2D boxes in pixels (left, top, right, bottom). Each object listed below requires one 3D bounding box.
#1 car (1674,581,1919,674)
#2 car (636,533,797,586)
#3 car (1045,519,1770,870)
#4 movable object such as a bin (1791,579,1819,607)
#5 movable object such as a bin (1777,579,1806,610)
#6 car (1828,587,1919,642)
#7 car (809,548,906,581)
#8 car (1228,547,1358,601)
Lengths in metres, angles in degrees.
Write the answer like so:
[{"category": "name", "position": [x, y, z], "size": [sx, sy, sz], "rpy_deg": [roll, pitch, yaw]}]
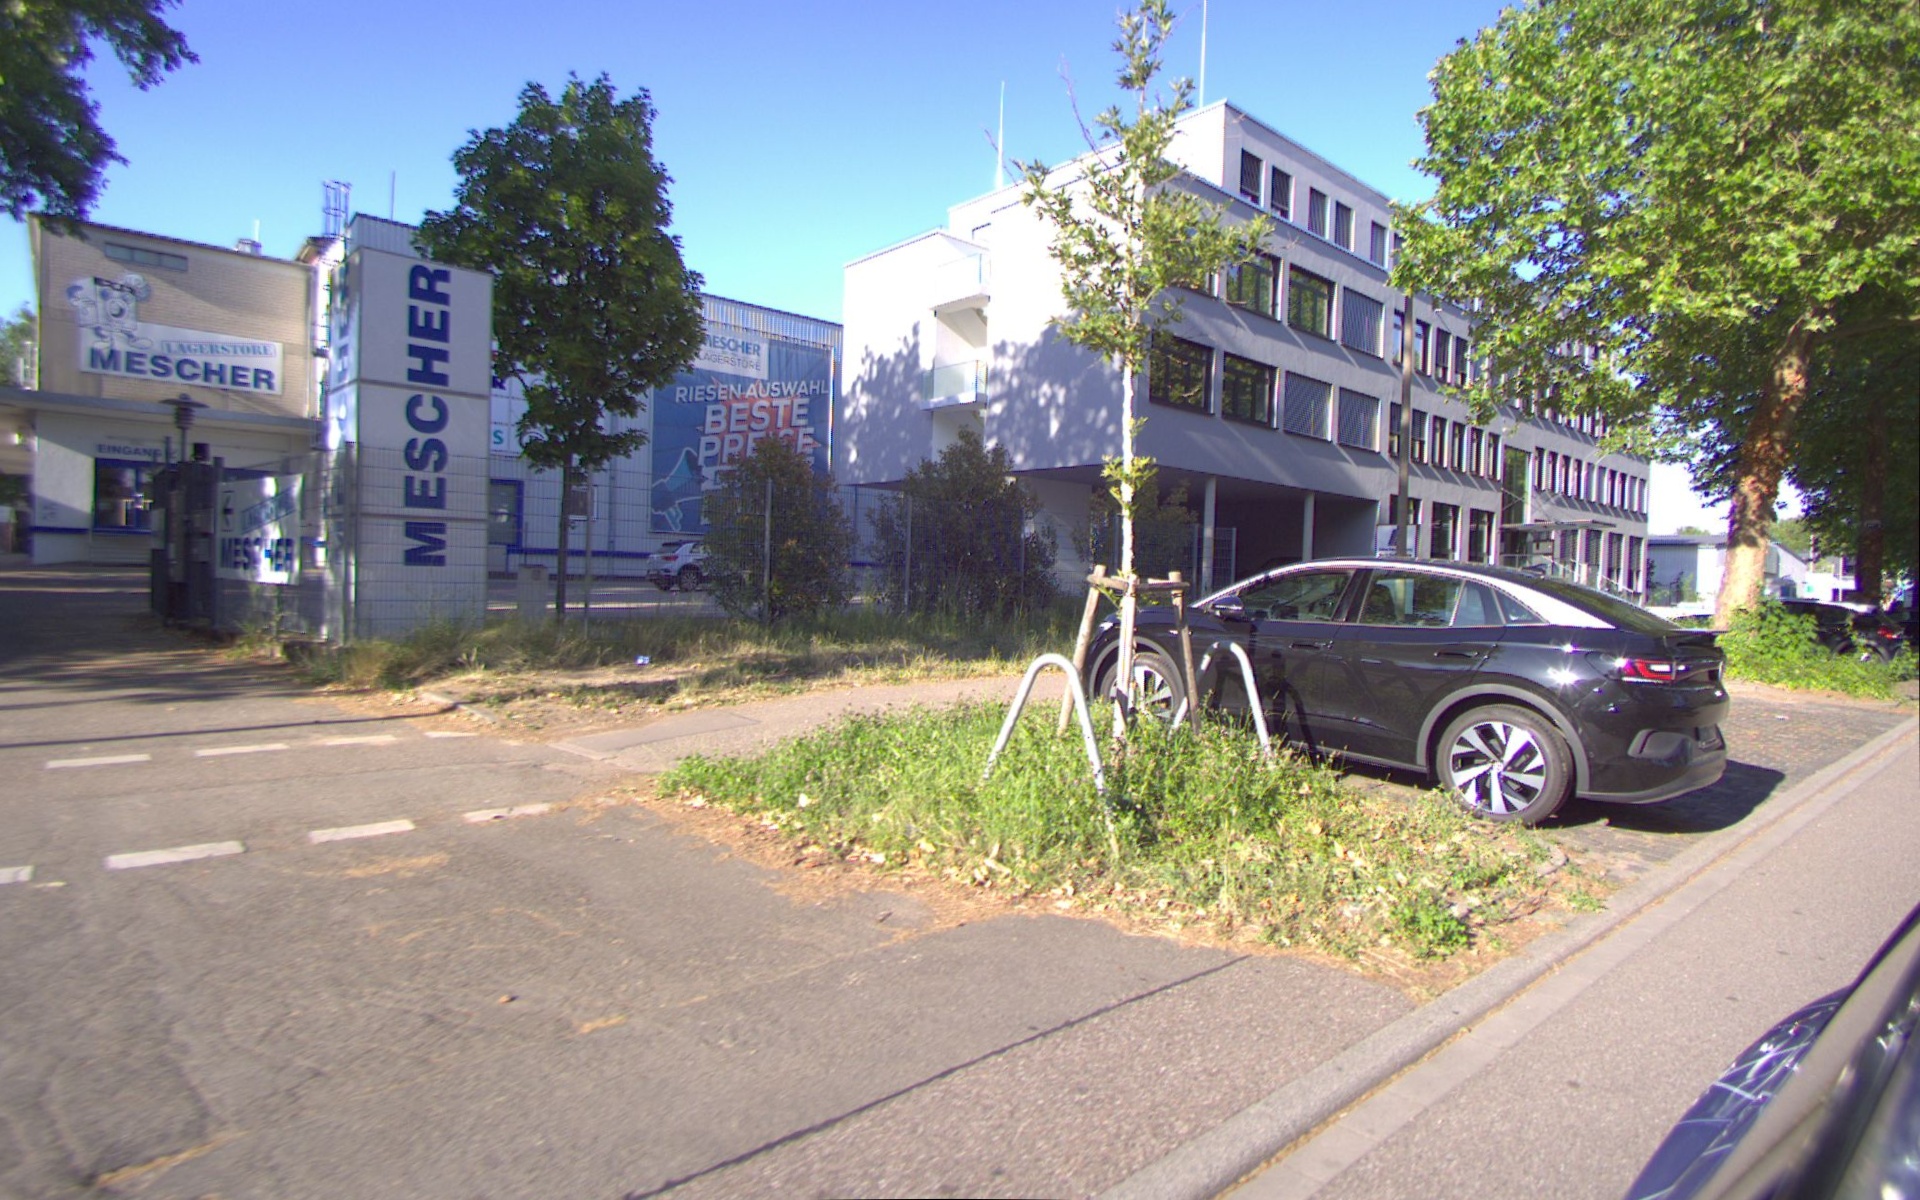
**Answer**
[{"category": "car", "position": [17.170, 0.476, 20.749], "size": [1.829, 1.504, 3.792], "rpy_deg": [0, 4, -42]}, {"category": "car", "position": [-7.718, -1.245, 32.388], "size": [4.695, 1.565, 1.995], "rpy_deg": [-1, 1, -45]}, {"category": "car", "position": [3.027, 0.370, 7.682], "size": [1.911, 1.736, 4.576], "rpy_deg": [0, 5, -44]}, {"category": "movable object such as a bin", "position": [39.248, -0.342, 46.976], "size": [1.583, 1.279, 0.749], "rpy_deg": [0, 1, -41]}, {"category": "movable object such as a bin", "position": [37.197, -0.256, 45.262], "size": [1.592, 1.367, 0.749], "rpy_deg": [0, 1, -41]}, {"category": "car", "position": [30.568, 0.543, 32.117], "size": [1.829, 1.503, 4.294], "rpy_deg": [0, 6, -42]}, {"category": "car", "position": [-4.498, -1.550, 44.802], "size": [3.930, 1.349, 1.873], "rpy_deg": [0, 1, -41]}, {"category": "car", "position": [11.588, -0.864, 35.134], "size": [4.580, 1.753, 2.000], "rpy_deg": [0, 1, -36]}]
